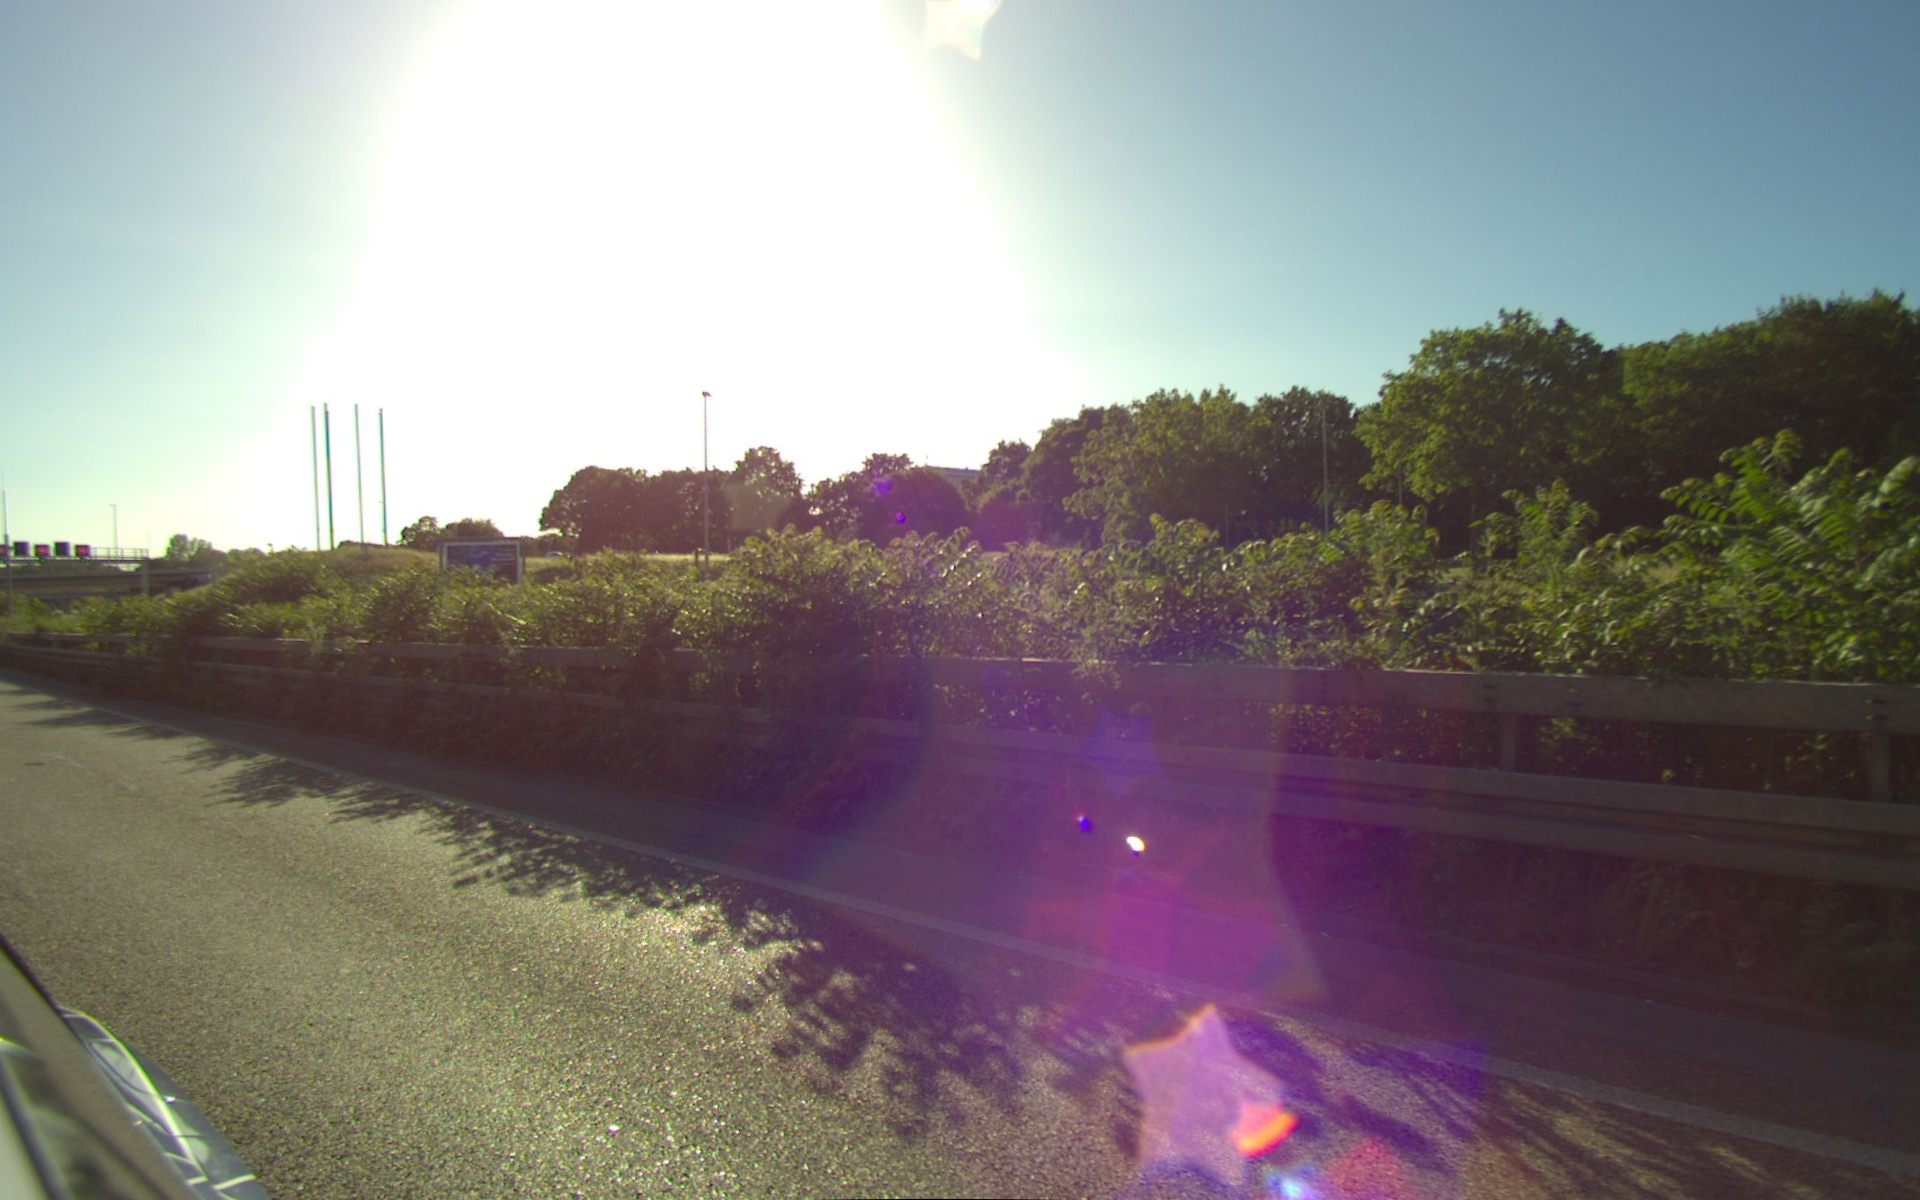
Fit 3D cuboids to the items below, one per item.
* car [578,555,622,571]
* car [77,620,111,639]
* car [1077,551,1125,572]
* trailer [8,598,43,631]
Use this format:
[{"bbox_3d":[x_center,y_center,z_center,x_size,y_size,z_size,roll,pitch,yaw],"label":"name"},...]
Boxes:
[{"bbox_3d":[-52.502,-5.301,147.455,6.062,2.029,2.527,-1,-1,26],"label":"car"},{"bbox_3d":[-74.641,2.514,87.228,4.000,1.573,1.821,-2,-1,43],"label":"car"},{"bbox_3d":[15.087,-4.094,108.671,1.969,2.029,4.944,-2,0,-42],"label":"car"},{"bbox_3d":[-124.540,1.970,134.792,10.700,4.154,2.619,-2,0,44],"label":"trailer"}]
